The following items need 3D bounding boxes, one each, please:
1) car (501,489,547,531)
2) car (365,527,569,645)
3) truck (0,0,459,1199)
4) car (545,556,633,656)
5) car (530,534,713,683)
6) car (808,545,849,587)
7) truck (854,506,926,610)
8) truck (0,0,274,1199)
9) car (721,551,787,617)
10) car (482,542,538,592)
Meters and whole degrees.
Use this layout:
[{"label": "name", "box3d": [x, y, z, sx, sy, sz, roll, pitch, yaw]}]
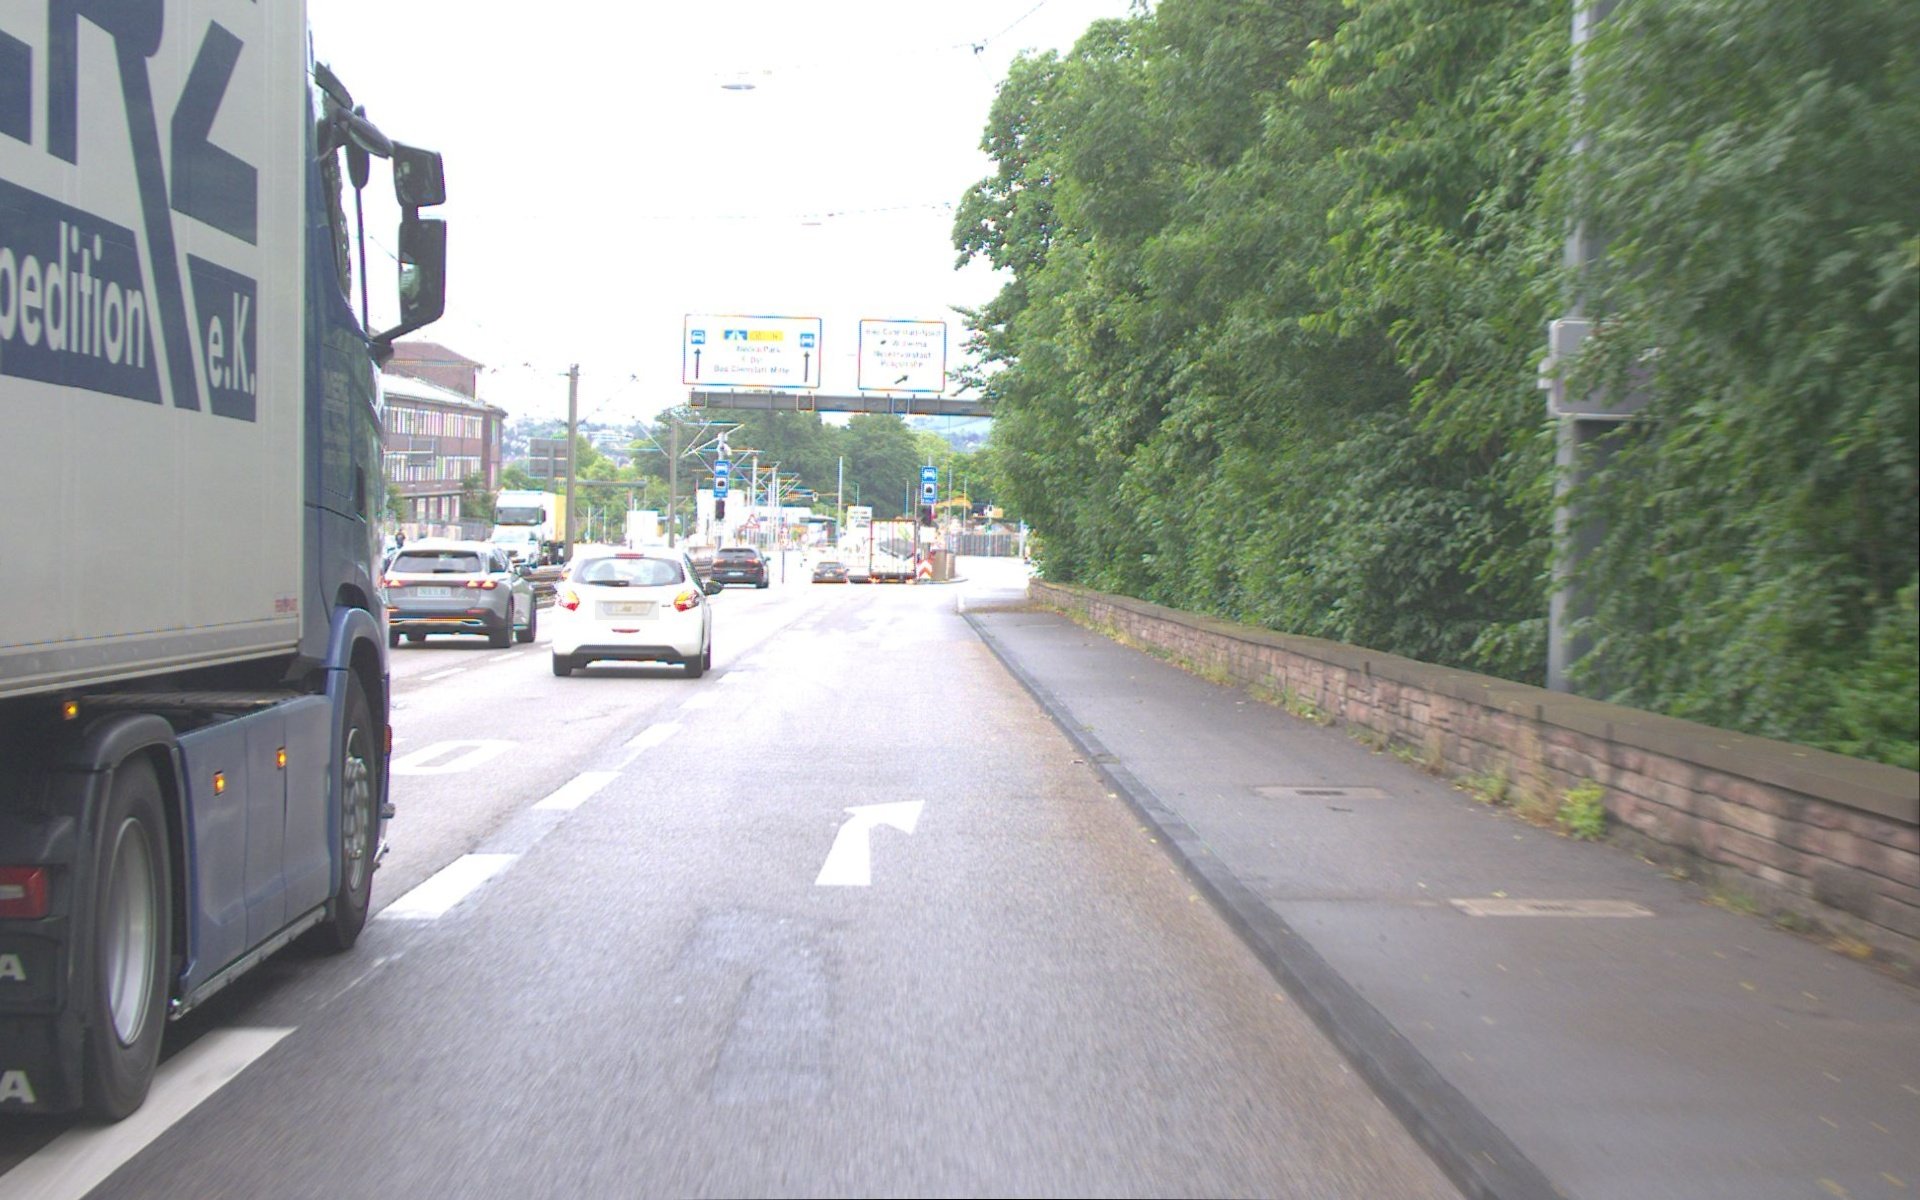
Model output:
[{"label": "car", "box3d": [-23.513, -4.836, 185.576, 1.993, 2.007, 4.000, 1, -2, -1]}, {"label": "car", "box3d": [-6.976, -0.230, 49.030, 1.821, 1.560, 4.091, -1, 1, 7]}, {"label": "truck", "box3d": [-3.388, -0.726, 10.601, 2.762, 4.182, 6.785, -1, 1, -1]}, {"label": "car", "box3d": [-8.088, 0.096, 74.781, 1.721, 1.884, 3.537, 0, 5, -9]}, {"label": "car", "box3d": [-3.853, 0.053, 39.672, 1.955, 1.483, 4.001, 2, 2, -4]}, {"label": "car", "box3d": [-6.962, -1.814, 182.457, 1.993, 2.007, 4.000, 1, -2, -1]}, {"label": "truck", "box3d": [-3.984, -2.326, 198.384, 3.465, 5.383, 12.050, 1, -2, 1]}, {"label": "truck", "box3d": [-3.242, -0.628, 3.259, 2.762, 4.182, 13.032, -1, 1, -1]}, {"label": "car", "box3d": [-6.921, -0.517, 115.859, 1.993, 2.007, 4.000, 1, -2, -1]}, {"label": "car", "box3d": [-20.123, -1.459, 153.921, 1.993, 2.007, 4.000, 1, -2, -1]}]
